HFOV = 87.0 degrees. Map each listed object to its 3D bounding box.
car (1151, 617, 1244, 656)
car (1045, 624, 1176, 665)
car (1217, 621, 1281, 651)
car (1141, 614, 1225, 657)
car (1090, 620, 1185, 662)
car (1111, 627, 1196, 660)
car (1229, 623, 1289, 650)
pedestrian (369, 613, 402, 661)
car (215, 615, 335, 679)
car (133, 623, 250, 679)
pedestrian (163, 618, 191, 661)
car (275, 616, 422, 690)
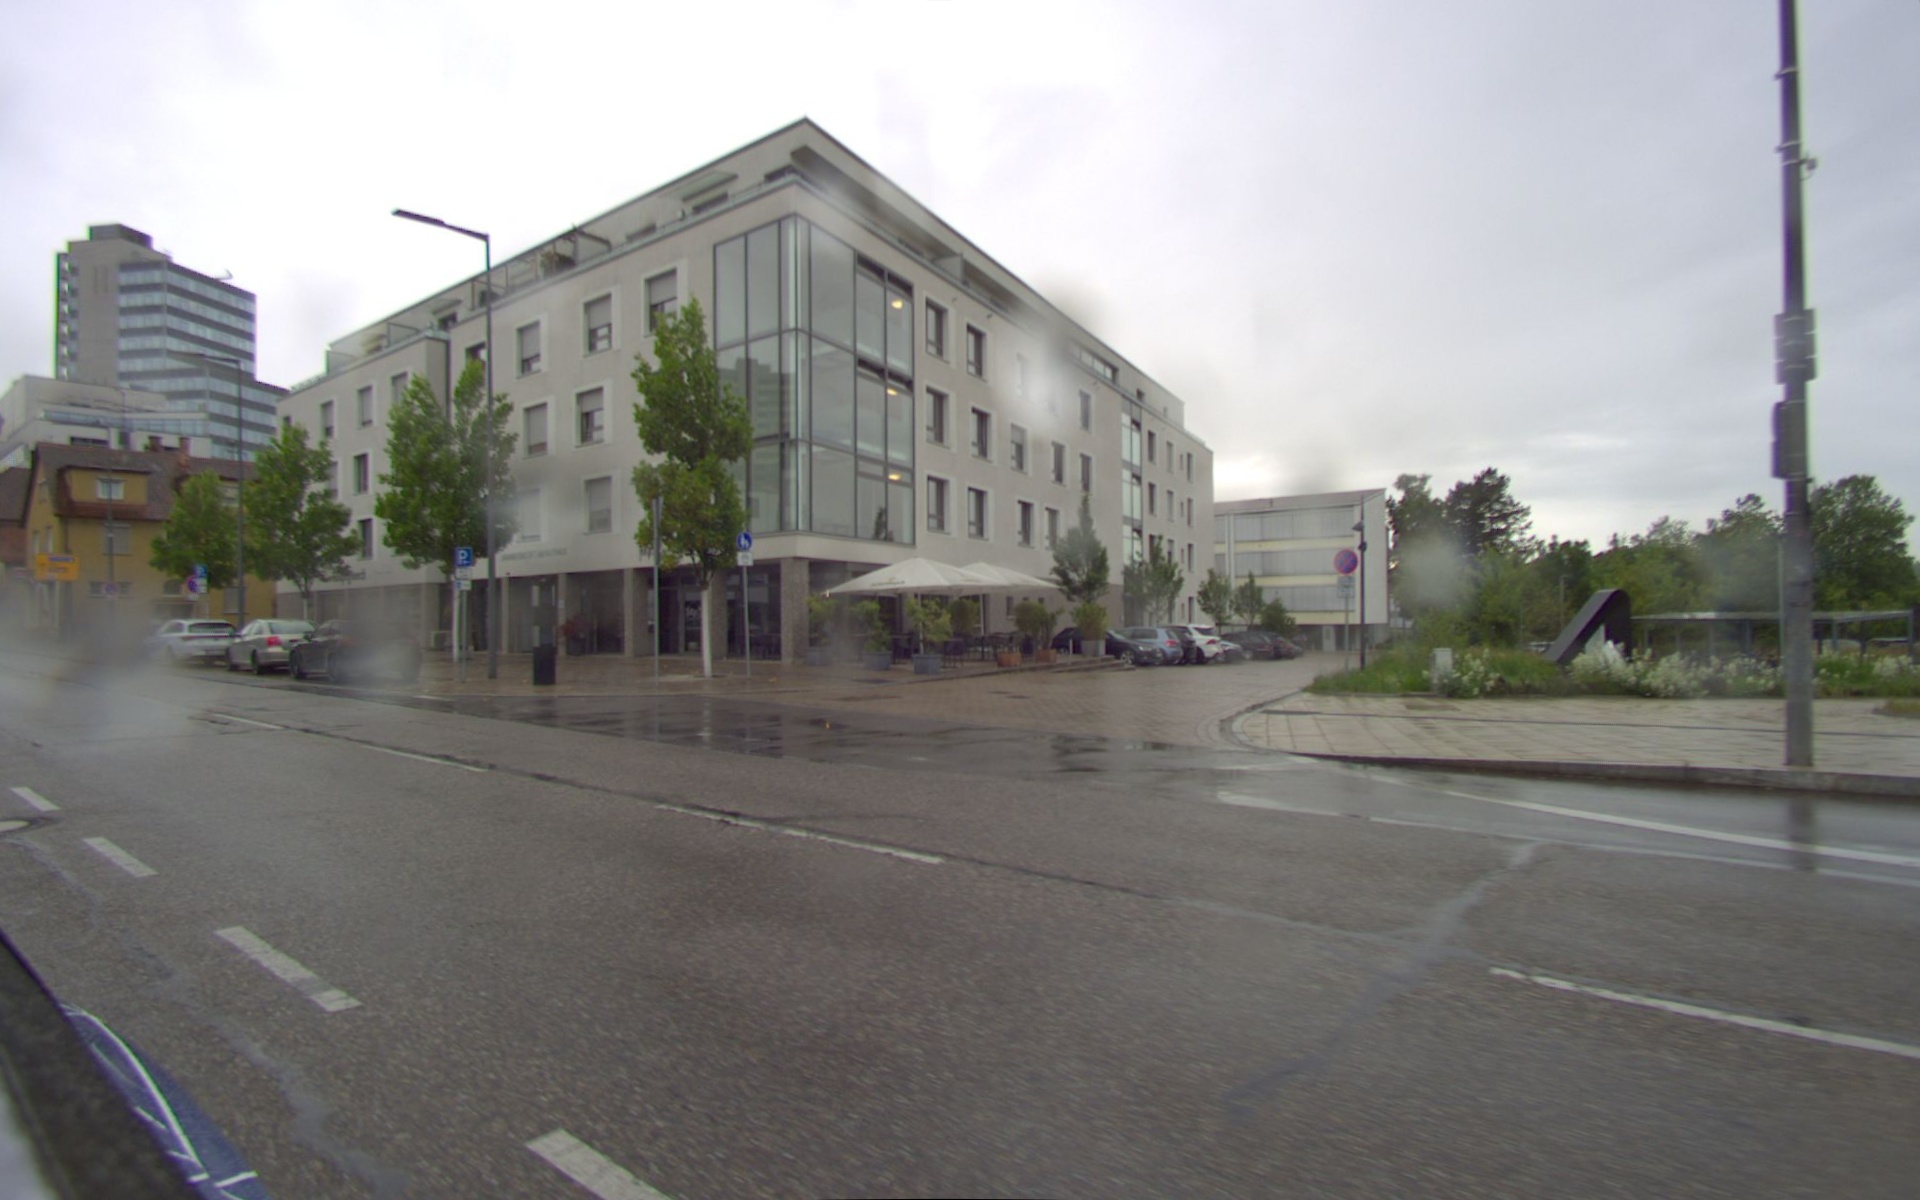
[{"bbox_3d":[11.166,1.678,47.549,3.973,1.702,1.985,1,-1,22],"label":"car"},{"bbox_3d":[5.480,1.591,36.913,4.443,1.305,1.780,1,-1,24],"label":"car"},{"bbox_3d":[15.993,1.983,56.042,3.193,1.570,1.504,1,-1,26],"label":"car"},{"bbox_3d":[9.921,1.565,45.048,3.437,1.790,1.479,1,-1,24],"label":"car"},{"bbox_3d":[6.947,1.572,39.496,3.411,1.470,1.491,1,-1,22],"label":"car"},{"bbox_3d":[7.976,1.780,41.721,3.240,1.230,1.386,1,-1,24],"label":"car"},{"bbox_3d":[17.401,2.098,58.867,3.202,1.493,1.433,1,-1,24],"label":"car"},{"bbox_3d":[-21.743,1.397,38.281,1.003,1.751,0.799,0,-1,44],"label":"pedestrian"},{"bbox_3d":[-18.846,1.232,27.753,4.577,1.521,1.673,1,-1,42],"label":"car"},{"bbox_3d":[-23.702,1.513,31.172,4.472,1.473,1.778,1,0,38],"label":"car"},{"bbox_3d":[-33.762,1.702,43.618,0.882,1.801,0.792,0,-1,43],"label":"pedestrian"},{"bbox_3d":[-14.512,1.210,23.913,4.466,1.594,1.571,-1,-2,40],"label":"car"}]
